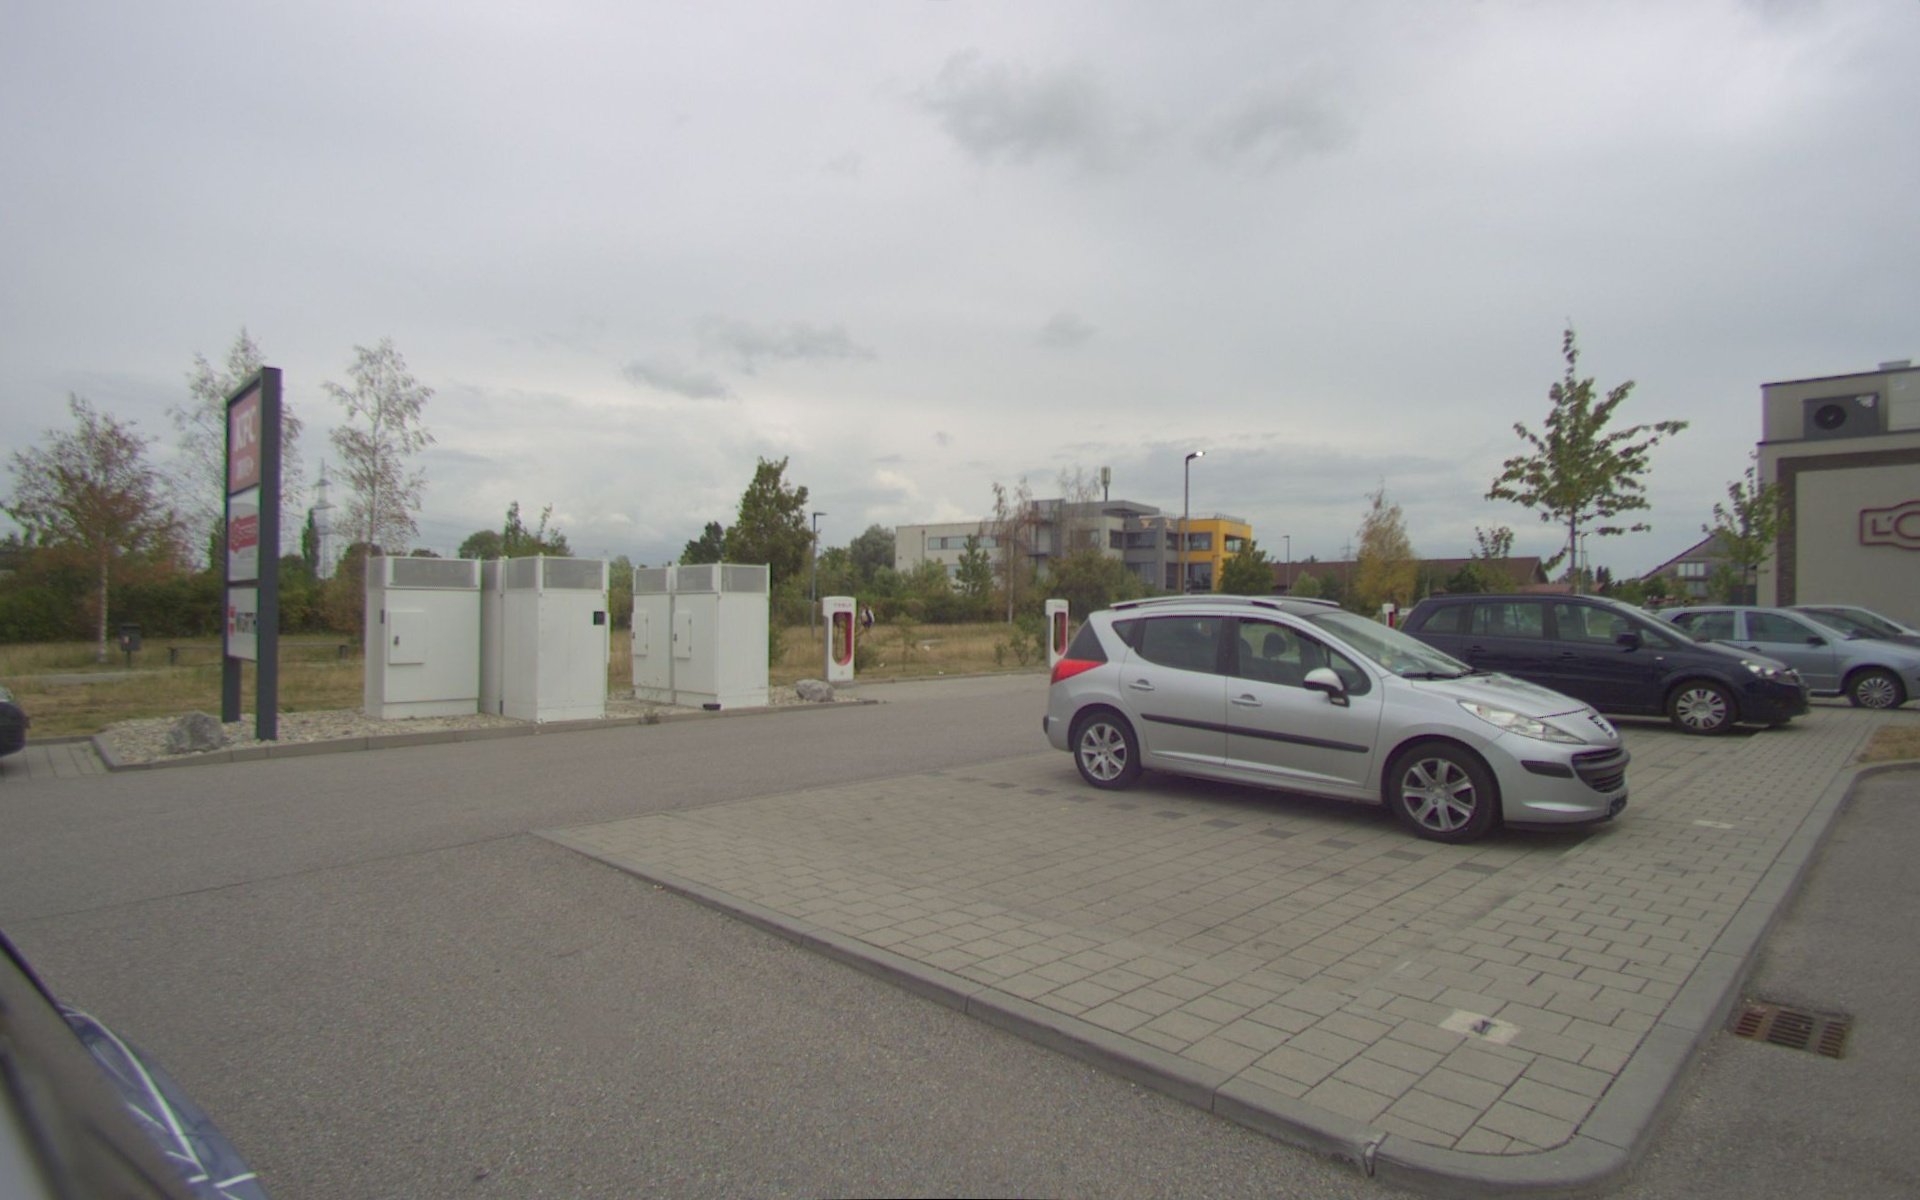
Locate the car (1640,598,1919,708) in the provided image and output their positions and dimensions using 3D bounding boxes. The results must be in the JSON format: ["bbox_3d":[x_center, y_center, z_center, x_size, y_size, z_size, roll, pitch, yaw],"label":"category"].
[{"bbox_3d":[12.014,0.729,14.342,1.410,1.405,3.687,1,-3,-42],"label":"car"}]

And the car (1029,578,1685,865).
[{"bbox_3d":[2.612,0.684,7.397,4.170,1.516,1.605,-1,-2,44],"label":"car"}]

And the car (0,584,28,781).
[{"bbox_3d":[-11.297,0.791,9.021,1.947,1.902,4.274,-3,-3,44],"label":"car"}]

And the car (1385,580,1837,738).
[{"bbox_3d":[7.853,0.652,12.562,4.487,1.629,1.562,-1,-2,44],"label":"car"}]

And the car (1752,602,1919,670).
[{"bbox_3d":[22.229,0.894,25.111,1.799,1.586,3.846,1,-3,-45],"label":"car"}]
